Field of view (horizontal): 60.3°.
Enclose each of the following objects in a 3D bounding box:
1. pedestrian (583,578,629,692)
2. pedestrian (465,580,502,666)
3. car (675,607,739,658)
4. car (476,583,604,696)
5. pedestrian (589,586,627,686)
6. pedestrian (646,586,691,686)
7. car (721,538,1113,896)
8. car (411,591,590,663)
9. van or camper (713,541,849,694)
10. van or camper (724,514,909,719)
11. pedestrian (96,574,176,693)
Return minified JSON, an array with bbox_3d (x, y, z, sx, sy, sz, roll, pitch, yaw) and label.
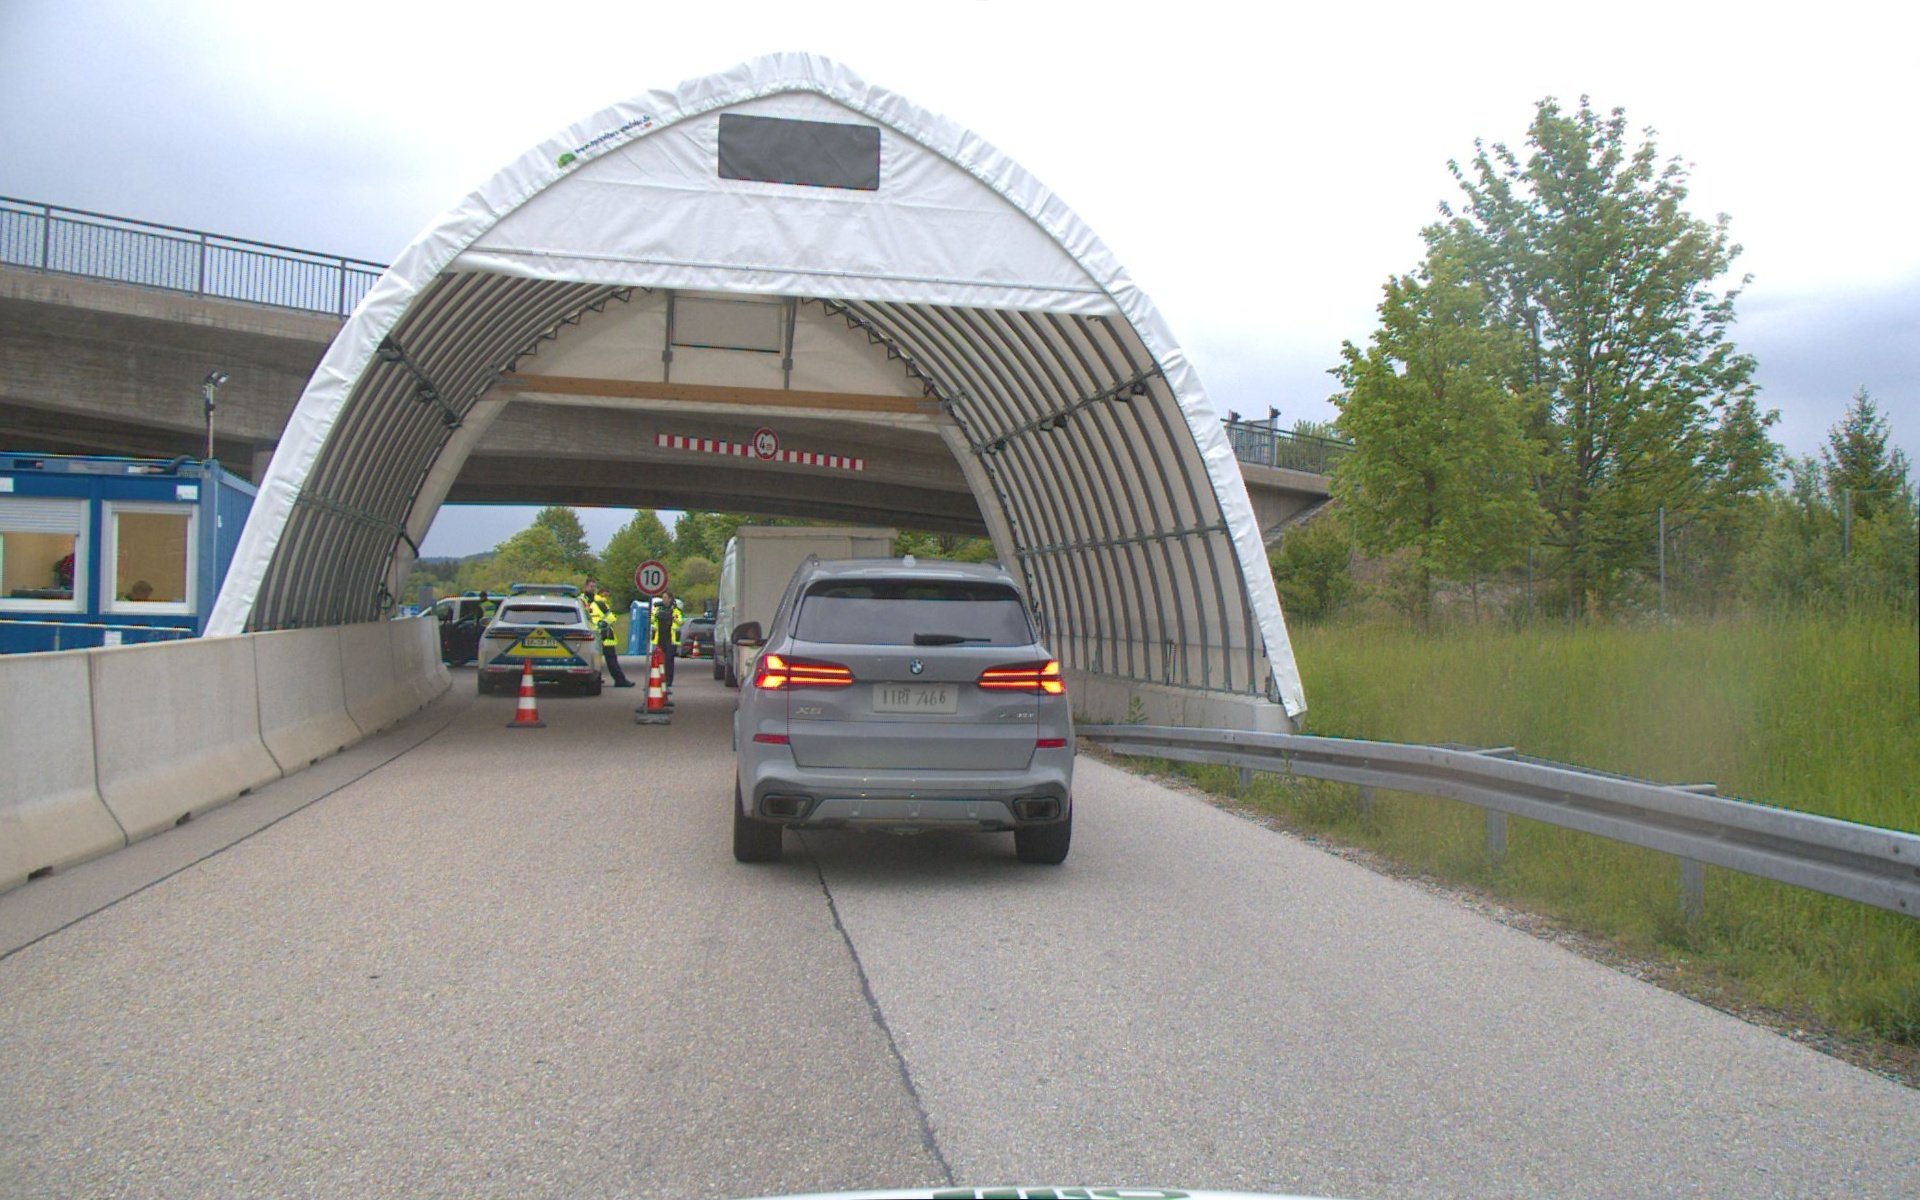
[{"bbox_3d":[-6.177,0.596,28.833,0.736,1.952,0.760,0,-1,-15],"label":"pedestrian"},{"bbox_3d":[-11.427,0.557,39.661,0.686,2.049,0.692,0,-1,-1],"label":"pedestrian"},{"bbox_3d":[-8.959,1.119,58.337,1.959,1.752,3.883,0,0,-13],"label":"car"},{"bbox_3d":[-6.760,0.594,26.639,1.846,1.675,3.984,0,0,-15],"label":"car"},{"bbox_3d":[-6.342,0.641,29.841,0.597,1.784,0.665,0,-1,-6],"label":"pedestrian"},{"bbox_3d":[-5.219,0.638,29.591,0.766,1.752,0.754,0,-1,-12],"label":"pedestrian"},{"bbox_3d":[-0.484,0.600,10.451,1.957,1.796,3.991,0,0,-9],"label":"car"},{"bbox_3d":[-13.502,0.774,48.750,4.703,2.049,1.842,0,-1,7],"label":"car"},{"bbox_3d":[-3.410,0.315,30.530,2.066,2.563,5.536,0,0,-11],"label":"van or camper"},{"bbox_3d":[-2.292,0.230,24.476,2.189,2.597,6.595,0,0,-10],"label":"van or camper"},{"bbox_3d":[-9.852,0.397,19.789,0.597,1.397,0.628,0,-1,8],"label":"pedestrian"}]
